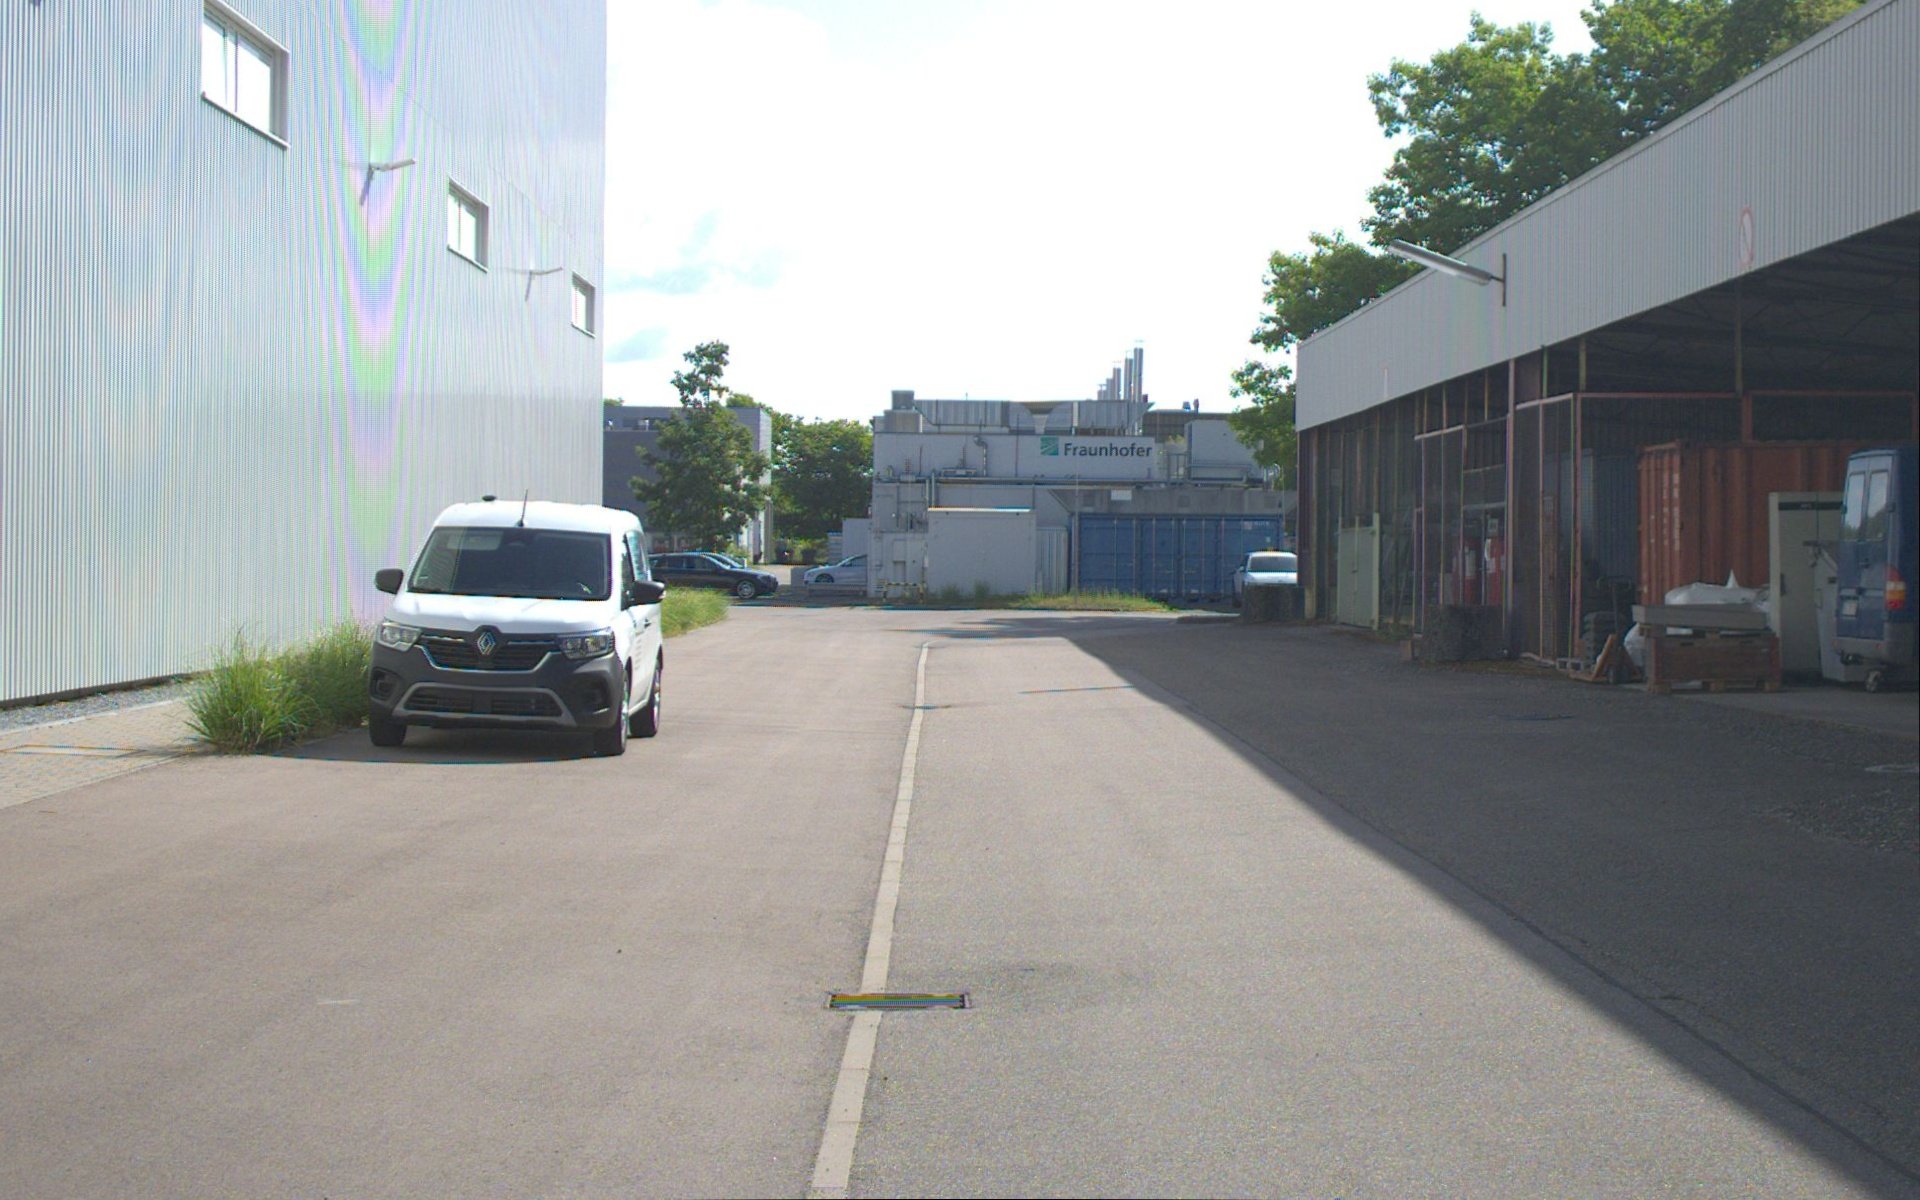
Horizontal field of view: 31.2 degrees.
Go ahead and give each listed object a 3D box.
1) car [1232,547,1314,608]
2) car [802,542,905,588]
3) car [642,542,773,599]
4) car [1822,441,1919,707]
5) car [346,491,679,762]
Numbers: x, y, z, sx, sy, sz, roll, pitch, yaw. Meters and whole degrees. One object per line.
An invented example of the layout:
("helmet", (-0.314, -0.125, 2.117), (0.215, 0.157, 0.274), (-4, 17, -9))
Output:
("car", (8.659, -0.643, 95.310), (1.962, 1.559, 4.059), (2, 1, 2))
("car", (-4.196, -1.377, 135.656), (3.987, 1.592, 1.848), (2, -1, -1))
("car", (-7.899, -0.931, 107.792), (3.987, 1.592, 1.742), (2, -1, -1))
("car", (10.215, -0.135, 30.827), (4.433, 2.302, 1.915), (2, -1, 1))
("car", (-3.222, 0.134, 25.557), (1.818, 1.781, 4.405), (2, 1, 0))
